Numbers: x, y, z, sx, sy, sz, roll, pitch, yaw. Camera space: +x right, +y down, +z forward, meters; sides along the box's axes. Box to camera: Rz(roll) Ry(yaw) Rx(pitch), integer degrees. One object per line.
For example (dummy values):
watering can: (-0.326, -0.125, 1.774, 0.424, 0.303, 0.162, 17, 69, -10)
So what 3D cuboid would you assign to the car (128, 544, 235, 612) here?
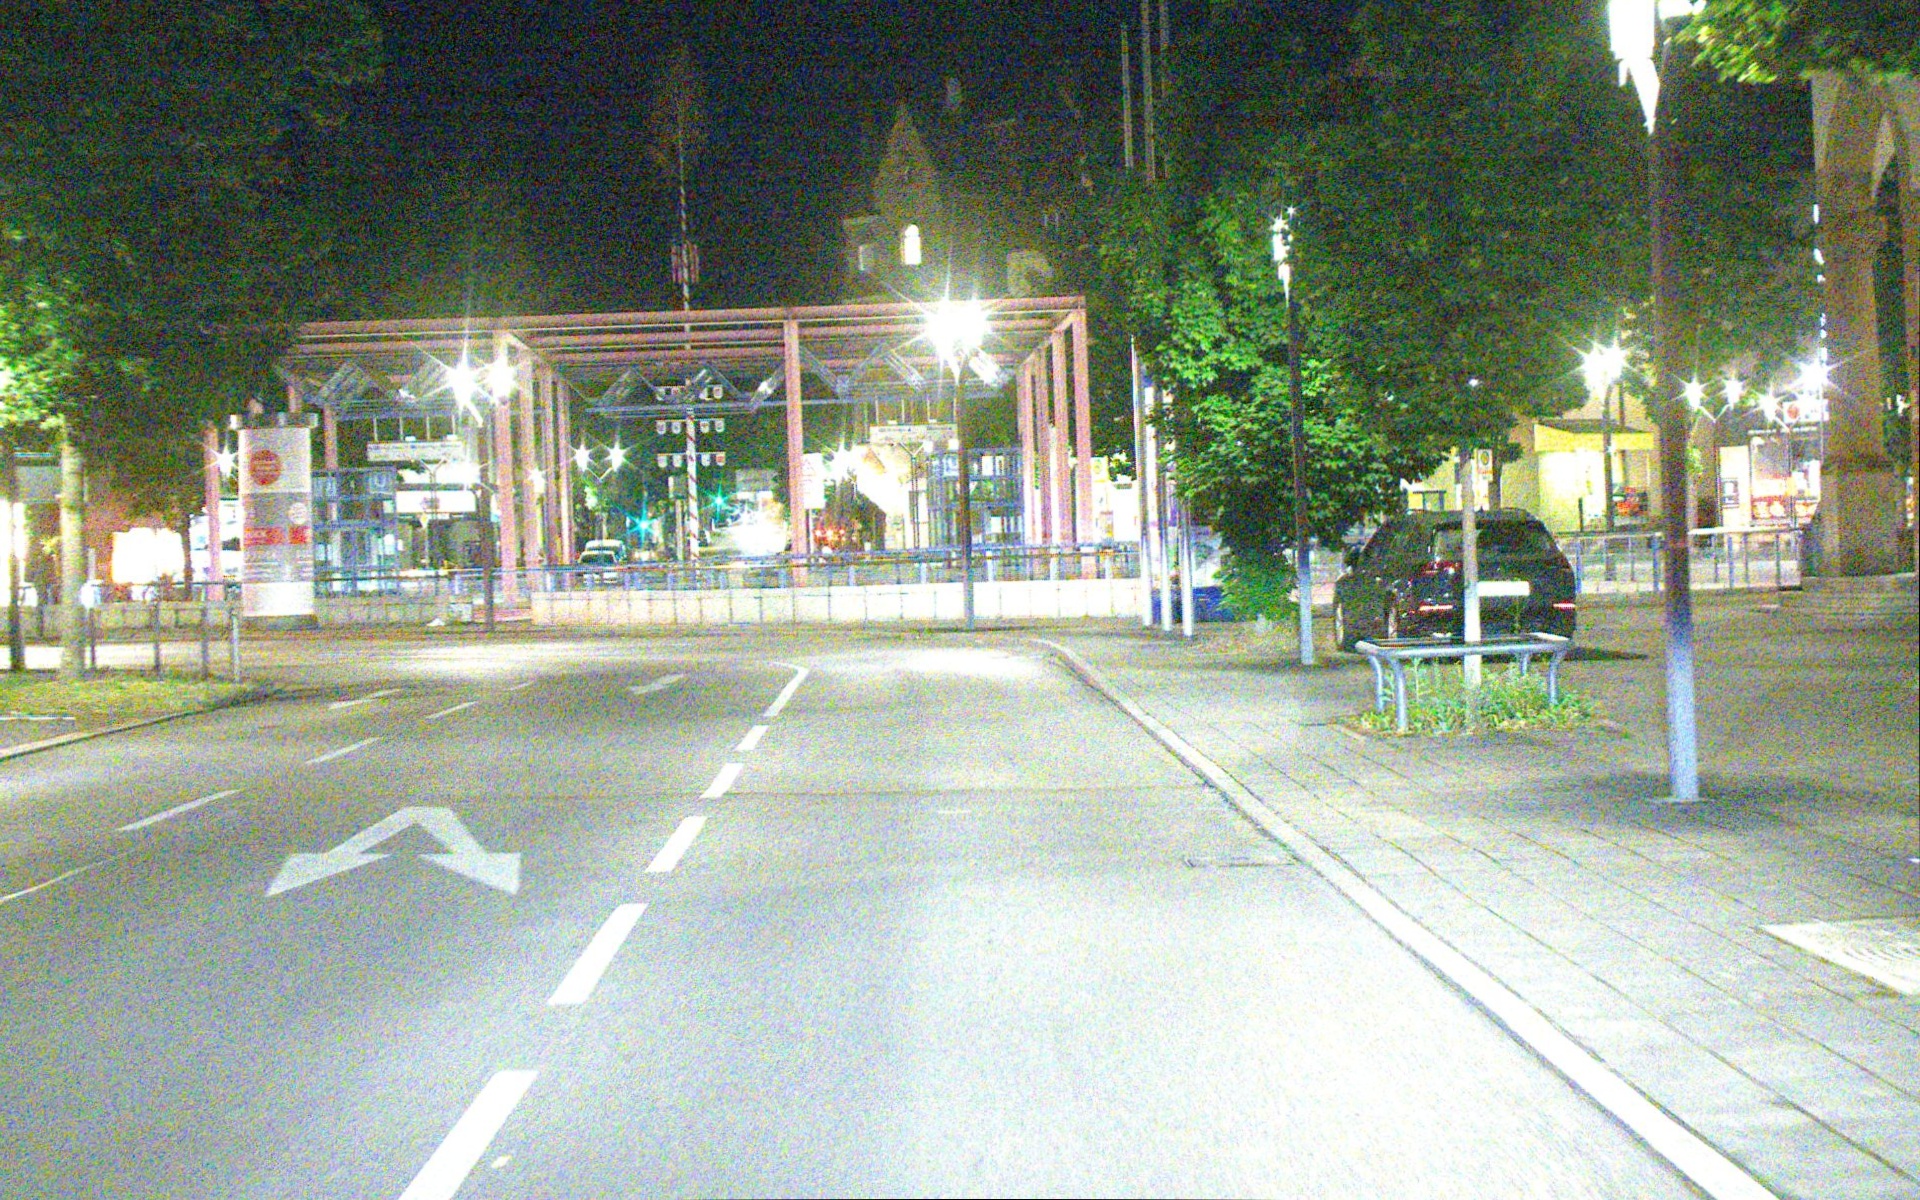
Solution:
car: (-19.591, -0.584, 86.703, 1.993, 1.568, 4.329, -2, 1, -5)

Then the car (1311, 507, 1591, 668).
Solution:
car: (4.851, -0.158, 34.607, 1.733, 1.454, 4.728, -2, 1, -5)
